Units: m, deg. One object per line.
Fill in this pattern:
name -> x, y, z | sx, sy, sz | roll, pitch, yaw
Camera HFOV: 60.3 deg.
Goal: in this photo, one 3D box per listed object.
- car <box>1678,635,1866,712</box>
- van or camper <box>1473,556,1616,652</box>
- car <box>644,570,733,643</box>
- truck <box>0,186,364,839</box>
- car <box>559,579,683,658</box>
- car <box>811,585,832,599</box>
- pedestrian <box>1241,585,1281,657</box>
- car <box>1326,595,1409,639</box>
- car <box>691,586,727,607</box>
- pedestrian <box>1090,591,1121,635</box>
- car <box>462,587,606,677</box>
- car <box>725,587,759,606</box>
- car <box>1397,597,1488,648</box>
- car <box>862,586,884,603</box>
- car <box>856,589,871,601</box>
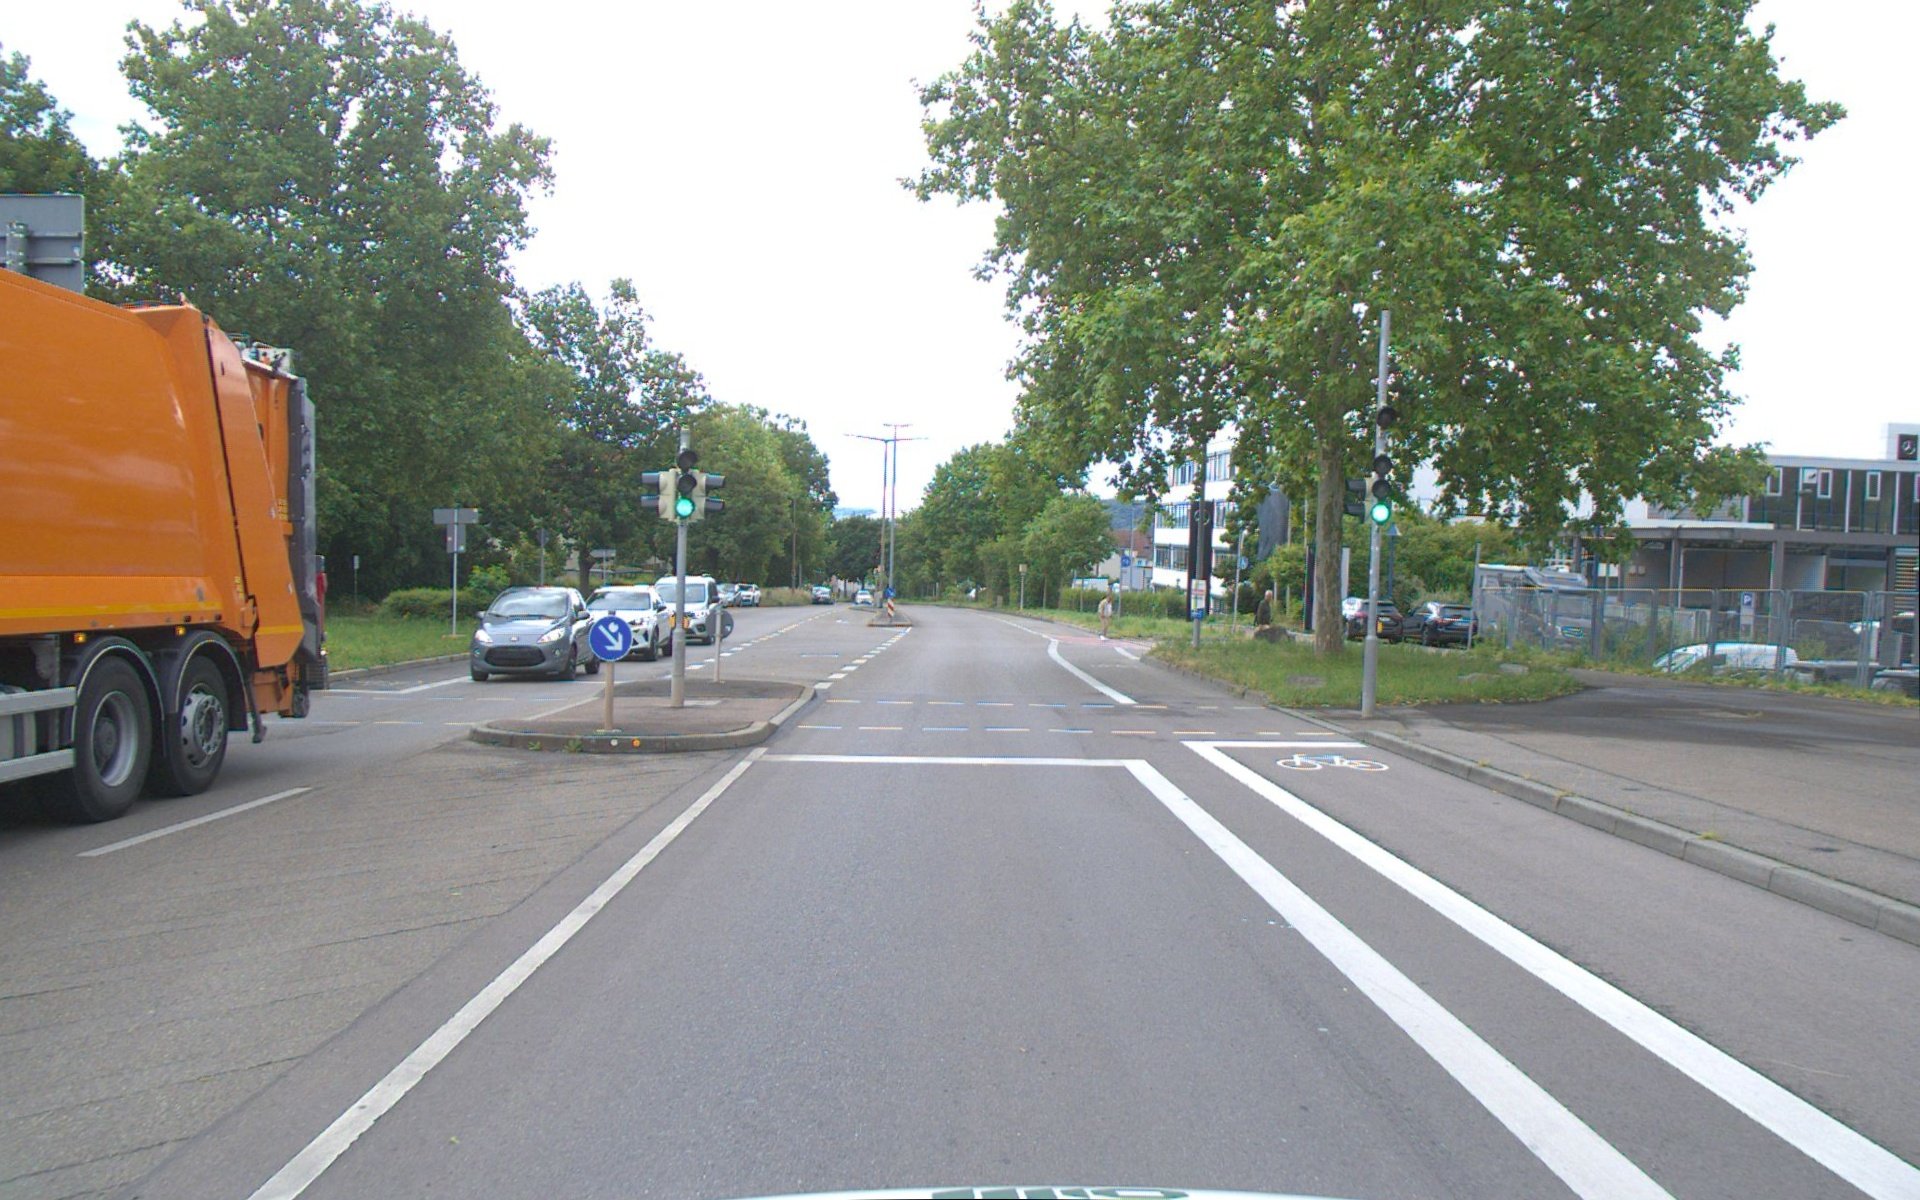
car -> 19.267, 1.733, 39.335 | 3.662, 1.646, 1.689 | 2, 0, -6
van or camper -> 19.186, 0.090, 54.710 | 1.926, 2.918, 6.915 | 1, 0, -3
car -> -7.246, 0.149, 44.593 | 1.809, 1.835, 4.648 | -1, 1, -3
truck -> -6.558, -0.510, 9.601 | 2.651, 3.547, 9.993 | 2, 1, -1
car -> -7.121, 0.349, 35.195 | 1.809, 1.547, 4.813 | -1, 1, -3
car -> -13.396, -0.760, 160.308 | 1.736, 1.327, 3.999 | 2, 0, -2
pedestrian -> 7.838, 0.548, 43.061 | 0.733, 1.833, 0.859 | 1, 0, 34
car -> 13.637, 0.545, 55.555 | 1.676, 1.378, 4.344 | 1, 0, -1
car -> -16.980, -0.256, 111.923 | 1.648, 1.327, 3.977 | 2, 0, -20
pedestrian -> 4.992, 0.436, 56.792 | 0.777, 1.489, 0.744 | 1, 0, -20
car -> -6.902, 0.474, 27.125 | 1.516, 1.354, 3.652 | -1, 1, -2
car -> -16.049, -0.234, 122.070 | 1.637, 1.327, 4.002 | 2, 0, 5
car -> 16.241, 0.725, 55.872 | 1.676, 1.534, 4.344 | 3, 0, -1
car -> -6.913, -0.449, 131.938 | 1.579, 1.327, 3.999 | 2, 0, -2
car -> -11.168, -0.628, 191.416 | 1.579, 1.327, 3.999 | 2, 0, -2
